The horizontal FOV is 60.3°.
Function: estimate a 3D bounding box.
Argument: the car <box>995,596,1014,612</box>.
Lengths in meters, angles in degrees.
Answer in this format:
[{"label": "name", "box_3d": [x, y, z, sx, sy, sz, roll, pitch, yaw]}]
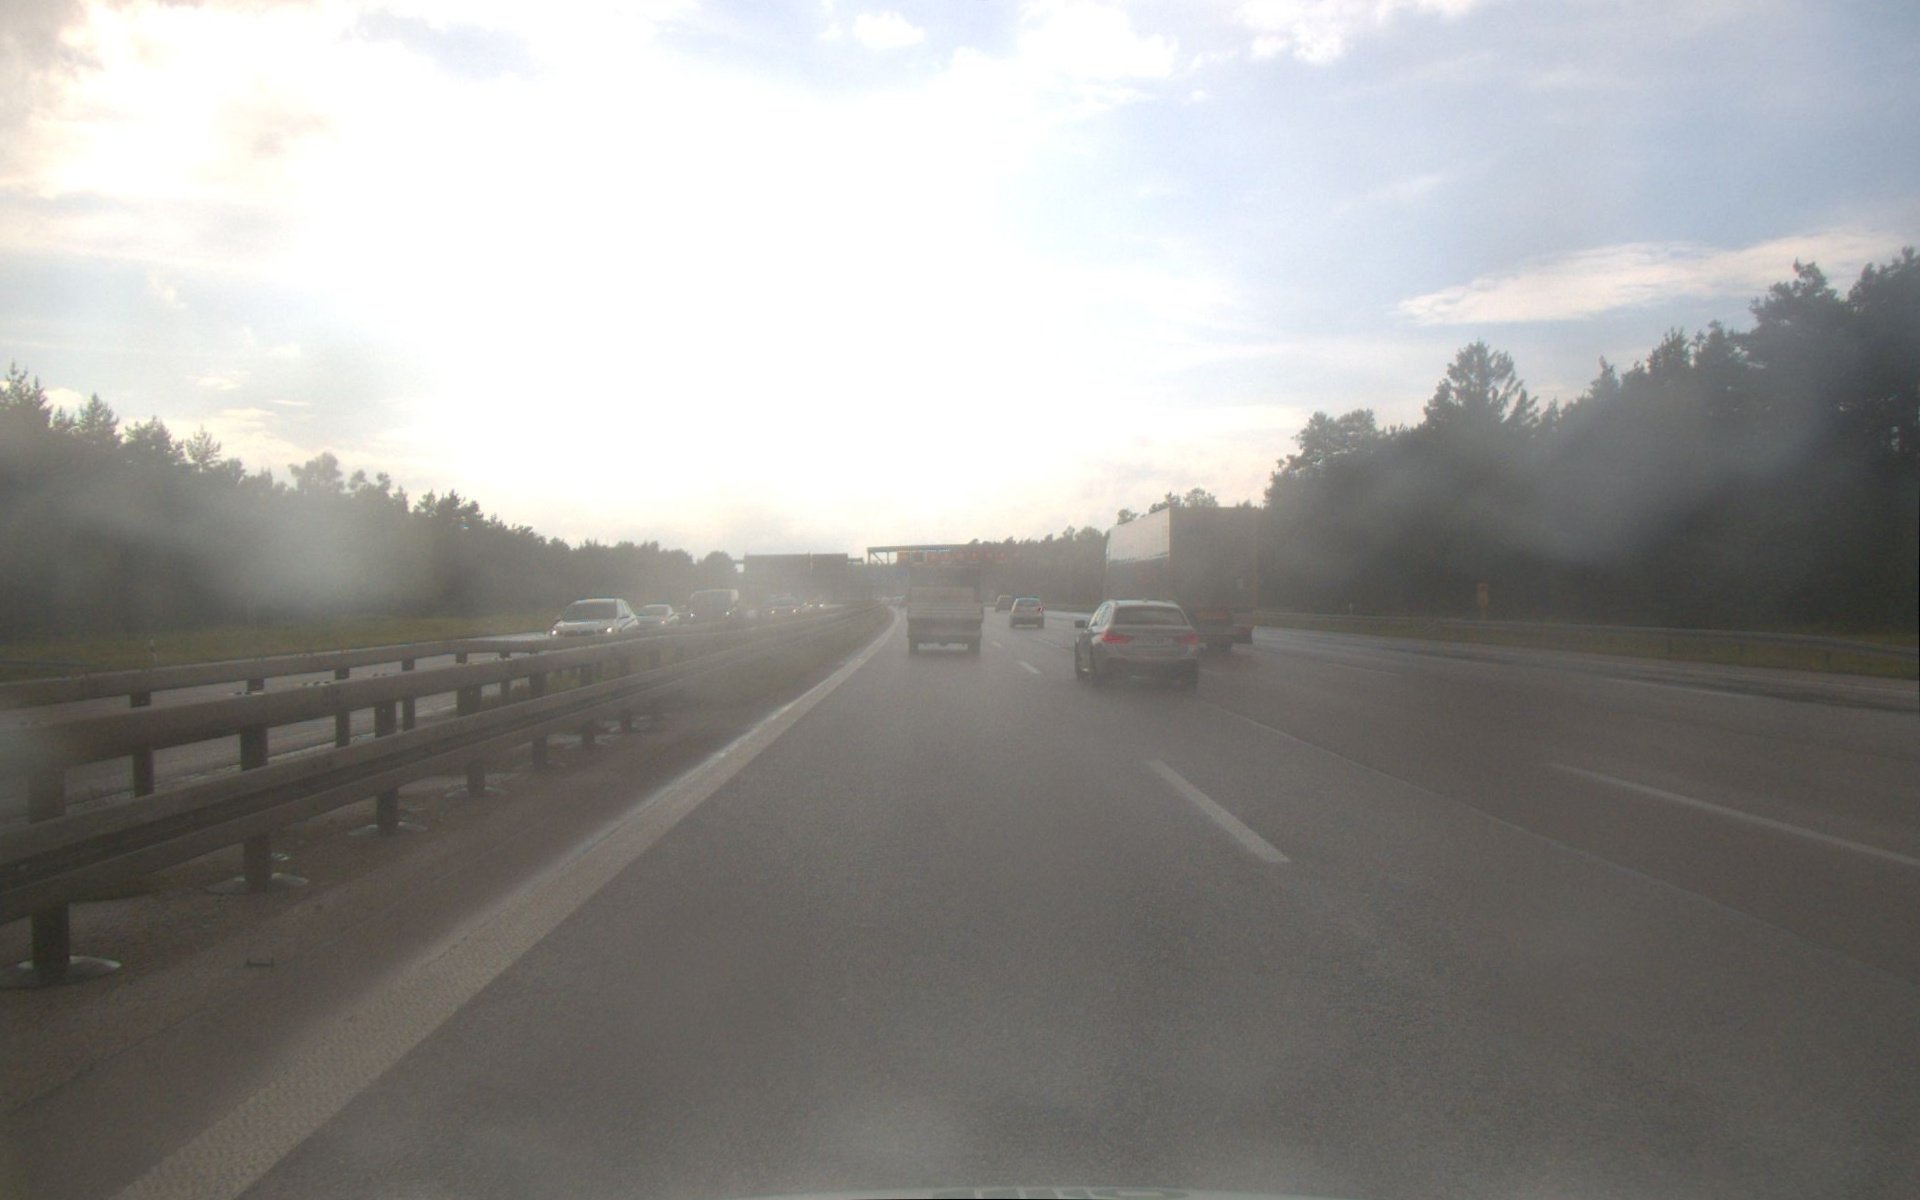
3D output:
[{"label": "car", "box_3d": [4.875, 0.457, 181.550, 1.706, 1.718, 3.998, 0, 0, -3]}]

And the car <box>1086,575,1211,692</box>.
[{"label": "car", "box_3d": [3.277, 0.539, 29.646, 2.034, 1.918, 5.014, 0, 0, 4]}]

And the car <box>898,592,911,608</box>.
[{"label": "car", "box_3d": [-7.214, -0.025, 215.022, 1.585, 2.049, 3.998, 1, 0, -3]}]

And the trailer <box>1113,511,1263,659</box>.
[{"label": "trailer", "box_3d": [6.979, -0.440, 52.889, 2.277, 4.071, 13.404, 1, 0, -3]}]

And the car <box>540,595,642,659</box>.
[{"label": "car", "box_3d": [-9.962, 0.682, 44.947, 1.822, 1.616, 4.489, -1, 0, -1]}]

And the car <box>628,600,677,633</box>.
[{"label": "car", "box_3d": [-14.835, 0.786, 79.916, 1.664, 1.514, 3.999, -1, 0, -1]}]

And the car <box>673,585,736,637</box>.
[{"label": "car", "box_3d": [-10.513, 0.441, 68.412, 1.953, 2.049, 4.625, -1, 0, -1]}]

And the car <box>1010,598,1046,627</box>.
[{"label": "car", "box_3d": [3.527, 0.630, 85.860, 1.793, 1.492, 4.001, 0, 0, 1]}]

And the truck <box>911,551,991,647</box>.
[{"label": "truck", "box_3d": [-0.258, -0.036, 46.009, 2.094, 2.532, 5.312, 0, 0, 0]}]

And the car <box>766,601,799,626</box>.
[{"label": "car", "box_3d": [-11.282, 0.842, 105.380, 1.735, 1.566, 3.999, -1, 0, -1]}]

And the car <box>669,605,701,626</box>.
[{"label": "car", "box_3d": [-19.630, 1.085, 118.360, 1.663, 1.382, 4.256, -1, 0, -2]}]
